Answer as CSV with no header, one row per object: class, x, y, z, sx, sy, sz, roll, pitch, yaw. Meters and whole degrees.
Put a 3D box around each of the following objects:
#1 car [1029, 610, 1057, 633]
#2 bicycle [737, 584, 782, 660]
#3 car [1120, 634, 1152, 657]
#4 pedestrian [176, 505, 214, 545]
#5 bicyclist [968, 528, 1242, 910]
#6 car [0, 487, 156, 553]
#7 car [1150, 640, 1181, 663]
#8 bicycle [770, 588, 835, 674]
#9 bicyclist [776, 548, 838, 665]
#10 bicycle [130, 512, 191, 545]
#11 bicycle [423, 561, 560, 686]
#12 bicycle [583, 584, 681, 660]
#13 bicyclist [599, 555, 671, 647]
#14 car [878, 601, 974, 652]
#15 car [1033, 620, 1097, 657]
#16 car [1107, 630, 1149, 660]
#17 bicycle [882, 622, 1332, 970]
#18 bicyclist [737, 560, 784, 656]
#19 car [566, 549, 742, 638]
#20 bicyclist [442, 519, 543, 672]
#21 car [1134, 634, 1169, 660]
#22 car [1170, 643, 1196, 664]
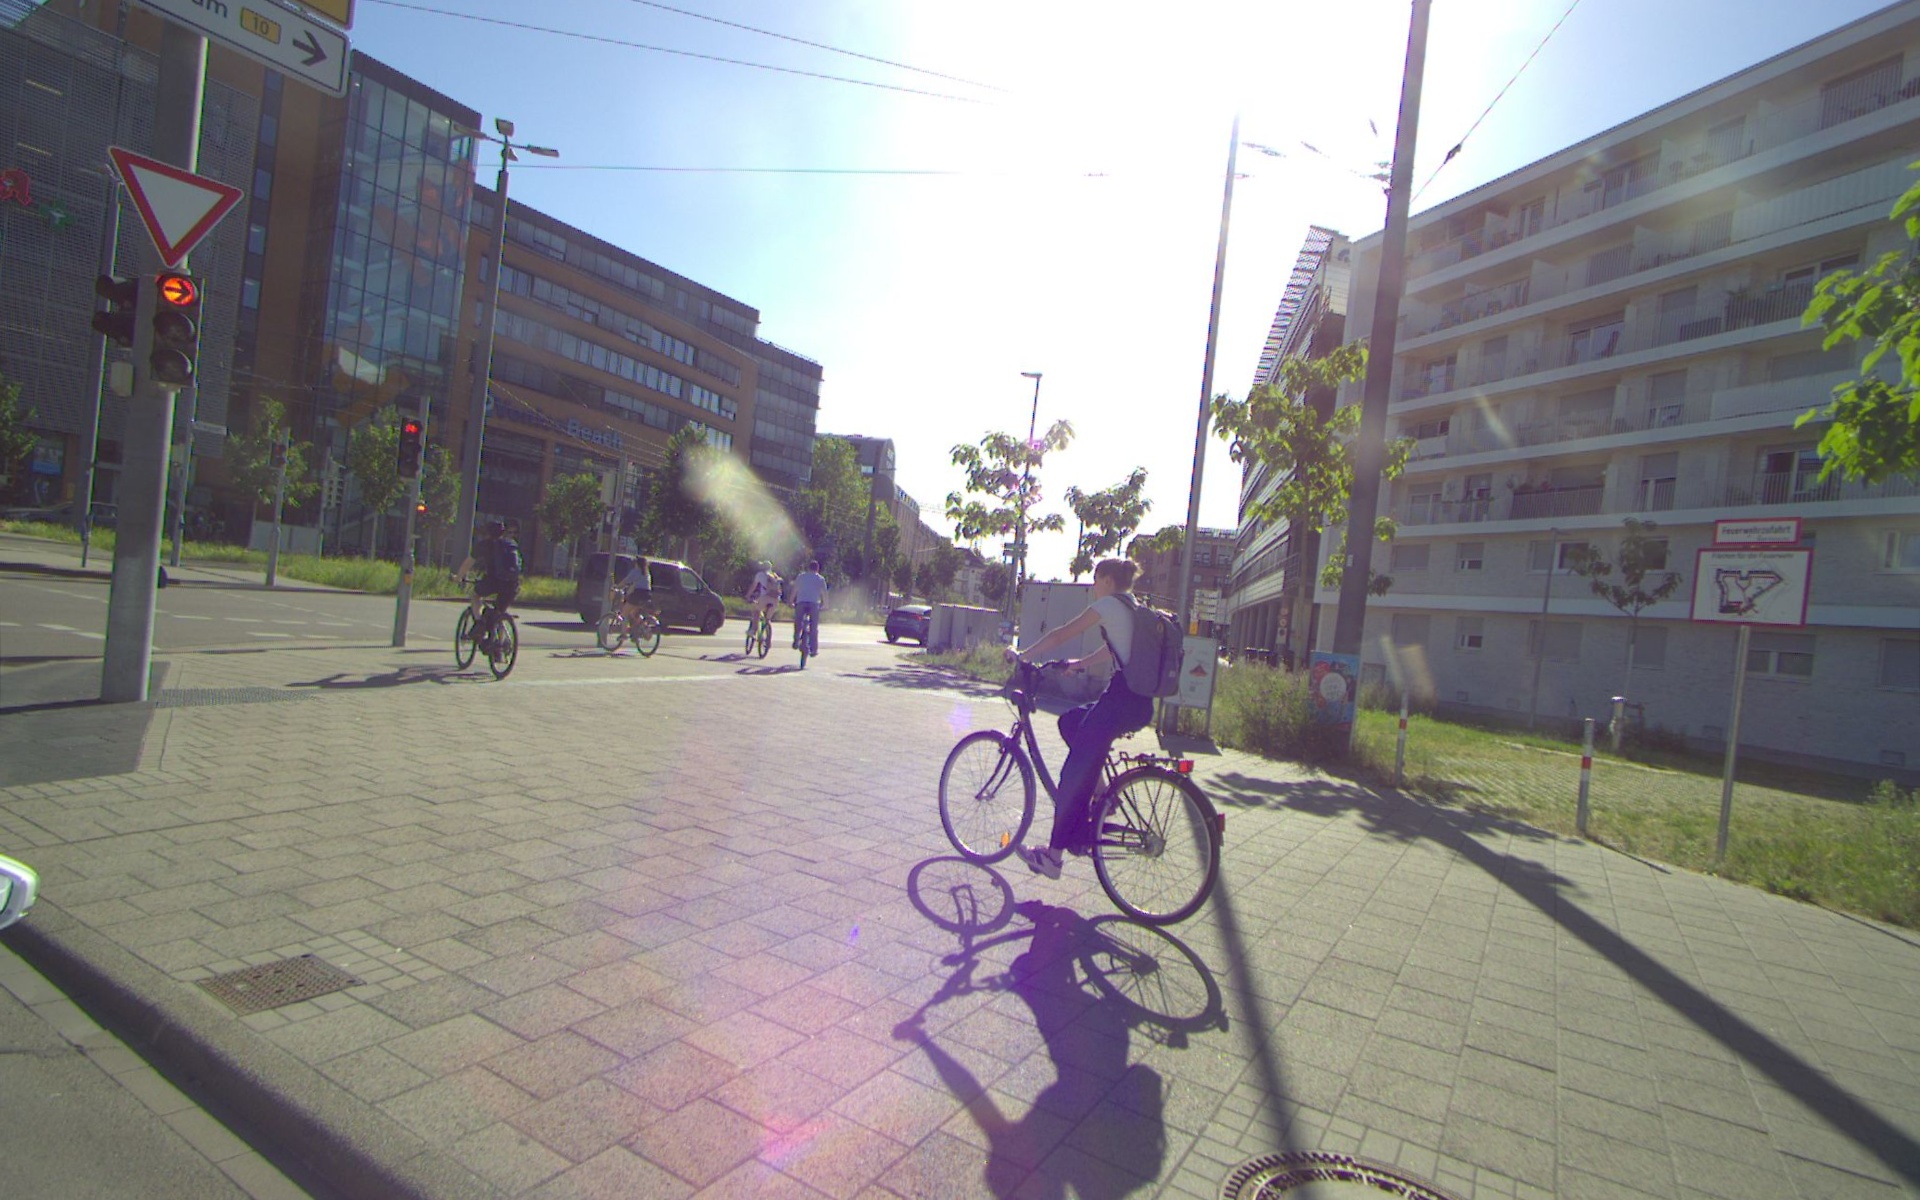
car,7.155,1.877,86.236,1.615,1.665,3.704,7,-1,15
bicycle,-3.894,0.433,19.485,0.705,1.342,1.746,5,-3,-12
car,13.910,3.629,79.485,1.677,1.515,4.281,7,-2,19
pedestrian,-39.072,-3.815,51.410,1.015,1.852,1.015,7,2,9
bicyclist,0.702,0.527,4.950,0.958,1.649,0.665,7,0,44
car,-32.094,-2.880,36.407,1.810,1.484,4.161,6,-5,30
car,16.055,4.028,78.385,1.677,1.515,4.281,7,-2,19
bicycle,-2.665,0.518,17.252,0.745,1.316,2.154,6,-1,-3
bicyclist,-2.626,0.122,17.326,0.795,1.888,0.749,6,0,-1
bicycle,-40.517,-3.608,51.034,0.595,1.310,2.260,7,-2,30
bicycle,-5.476,0.241,11.682,2.126,1.212,0.634,6,0,44
bicycle,-5.597,0.361,17.120,1.794,1.085,0.666,6,-1,40
bicyclist,-5.516,0.017,17.082,0.927,1.453,0.666,4,-1,41
car,-1.258,1.058,39.198,1.679,1.531,4.275,7,-2,28
car,5.415,1.992,51.431,1.800,1.479,4.684,7,-1,23
car,10.386,2.801,61.987,1.675,1.591,4.874,7,-1,18
bicycle,0.618,0.833,5.011,2.127,1.212,0.665,6,0,45
bicyclist,-3.850,0.178,19.366,0.705,1.744,1.093,6,-3,-12
car,-7.756,-0.099,26.000,1.678,1.813,4.472,7,-1,24
bicyclist,-5.431,-0.060,11.675,0.627,1.649,0.959,6,0,-44
car,13.573,3.377,71.278,1.677,1.515,4.281,7,-2,19
car,19.719,4.766,88.841,1.677,1.515,4.281,7,-2,19
